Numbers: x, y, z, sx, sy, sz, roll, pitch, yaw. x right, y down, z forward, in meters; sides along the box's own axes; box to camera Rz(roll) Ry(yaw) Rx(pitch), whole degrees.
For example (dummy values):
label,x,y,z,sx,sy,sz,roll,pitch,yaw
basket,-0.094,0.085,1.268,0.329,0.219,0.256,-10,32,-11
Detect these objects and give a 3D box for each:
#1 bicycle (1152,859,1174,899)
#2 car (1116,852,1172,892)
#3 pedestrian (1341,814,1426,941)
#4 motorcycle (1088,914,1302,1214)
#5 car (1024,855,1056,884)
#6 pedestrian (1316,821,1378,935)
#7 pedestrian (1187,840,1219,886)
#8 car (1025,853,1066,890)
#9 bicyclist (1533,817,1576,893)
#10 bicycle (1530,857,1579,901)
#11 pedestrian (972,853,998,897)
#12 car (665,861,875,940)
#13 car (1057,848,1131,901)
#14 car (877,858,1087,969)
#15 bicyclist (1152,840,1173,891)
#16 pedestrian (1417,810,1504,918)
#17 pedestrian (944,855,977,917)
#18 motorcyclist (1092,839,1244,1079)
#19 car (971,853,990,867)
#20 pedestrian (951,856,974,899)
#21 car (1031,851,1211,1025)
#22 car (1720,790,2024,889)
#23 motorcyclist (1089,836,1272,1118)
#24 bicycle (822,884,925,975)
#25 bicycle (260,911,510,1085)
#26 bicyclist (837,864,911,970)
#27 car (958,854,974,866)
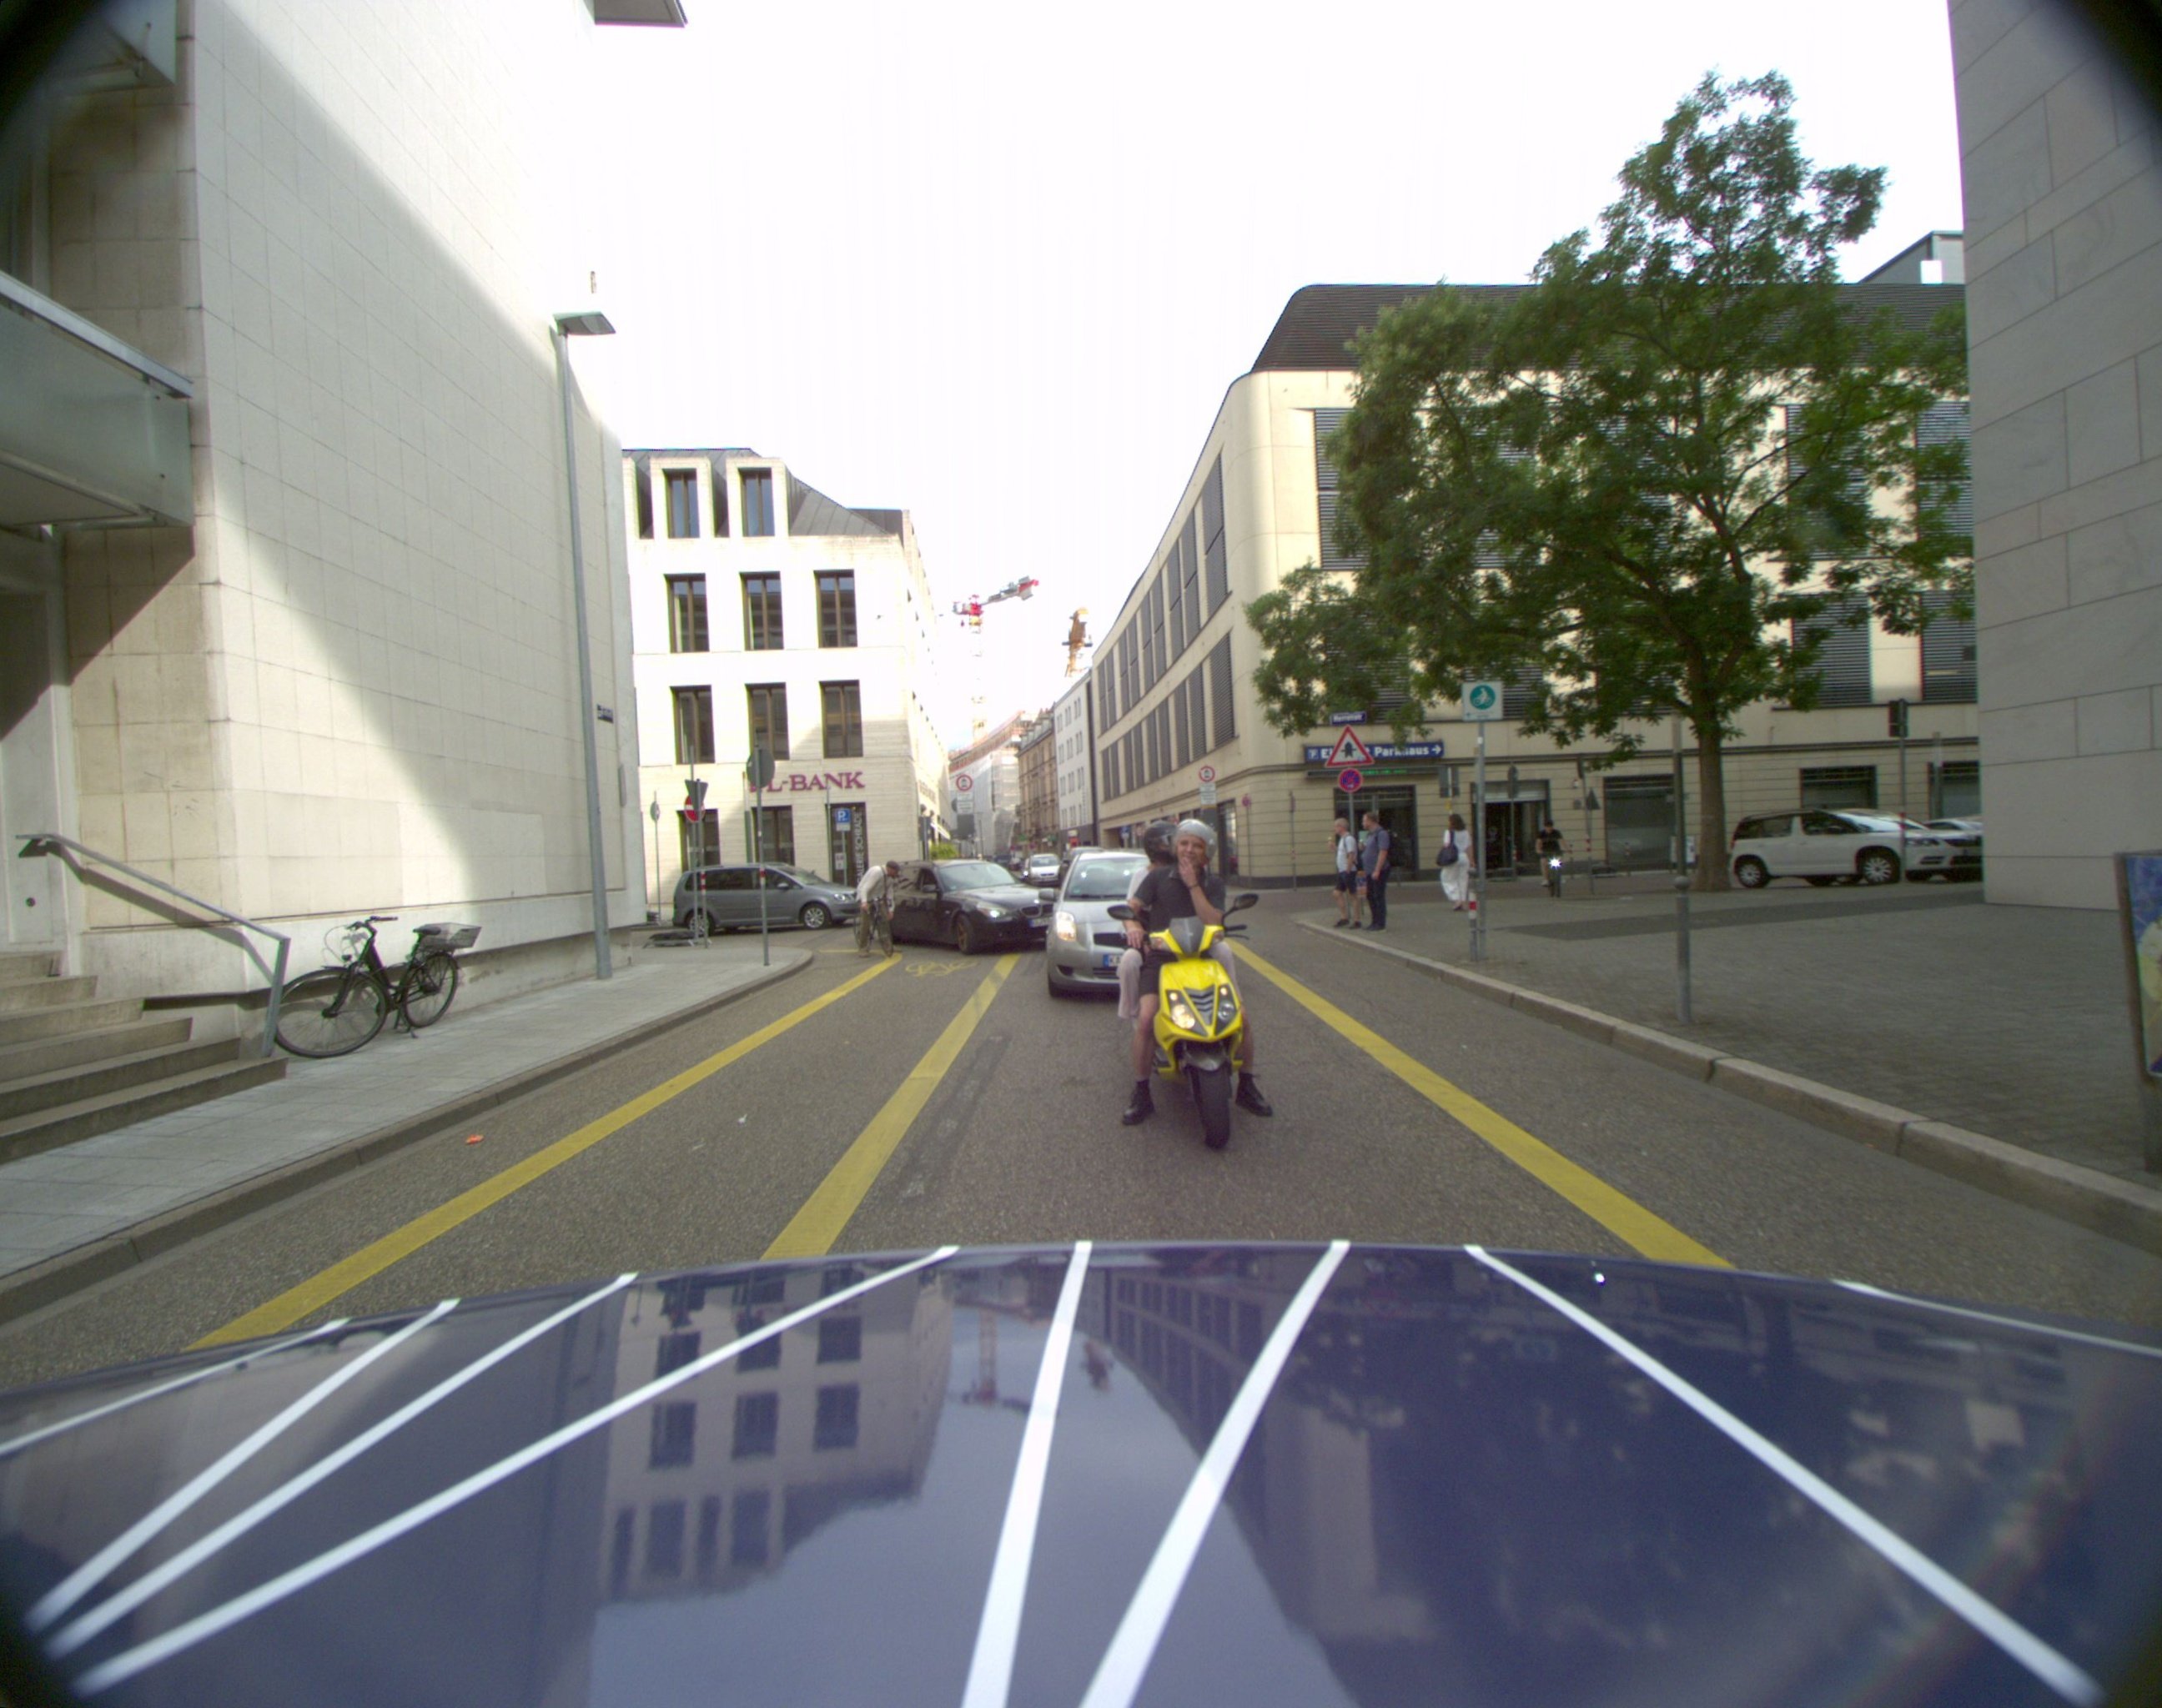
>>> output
label,x,y,z,sx,sy,sz,roll,pitch,yaw
bicycle,2.677,0.804,24.995,0.648,1.233,1.953,0,1,4
car,2.713,0.748,33.581,1.563,1.547,4.100,-3,1,-7
pedestrian,4.581,0.342,11.538,0.745,1.804,0.756,-6,1,-11
motorcycle,0.525,1.019,4.437,0.929,1.158,2.127,-1,0,1
car,-2.327,0.826,42.433,1.589,1.477,3.997,-2,1,-6
pedestrian,4.271,0.374,12.236,0.644,1.755,0.653,-3,1,-11
pedestrian,4.968,0.362,30.953,0.892,1.755,1.060,-6,1,-5
car,-1.749,0.781,36.294,1.563,1.547,4.100,-3,1,-7
bicyclist,10.589,0.020,16.994,0.621,1.609,0.645,-5,0,40
bicycle,10.541,0.553,16.883,0.600,0.829,1.728,-7,-2,41
pedestrian,-4.088,0.875,32.361,0.860,1.820,0.774,-2,1,7
car,-7.310,1.065,18.197,4.193,1.581,1.814,-2,1,-2
car,0.328,0.591,24.725,1.710,1.482,4.100,-3,1,-8
car,-1.787,0.886,12.705,1.720,1.482,3.755,-4,1,-38
bicyclist,2.669,0.377,24.980,0.644,1.644,0.940,0,1,4
pedestrian,6.486,0.165,13.024,0.879,1.699,0.910,-6,1,0
pedestrian,-3.687,0.962,23.197,0.774,1.820,0.860,-3,1,-20
motorcyclist,0.534,0.637,4.981,0.903,1.445,0.742,-1,0,1
car,-11.815,0.677,89.300,1.590,1.477,3.994,-3,1,-15
pedestrian,-5.120,1.001,32.787,0.861,1.820,0.773,-3,1,-6
car,0.432,0.769,8.825,1.562,1.482,3.784,-3,1,2
car,15.867,-0.172,15.611,1.899,1.682,3.964,-2,-3,-3
motorcyclist,0.523,0.636,4.456,0.924,1.445,1.065,-1,0,1
bicycle,-3.469,1.153,12.465,0.872,1.188,2.857,-3,1,-30
bicycle,-6.040,1.180,6.764,0.590,1.161,1.814,-2,1,-4
bicyclist,-3.363,0.982,12.307,0.894,1.585,0.875,-3,1,-30
car,-15.102,0.756,99.642,1.590,1.477,3.994,-3,1,-15
